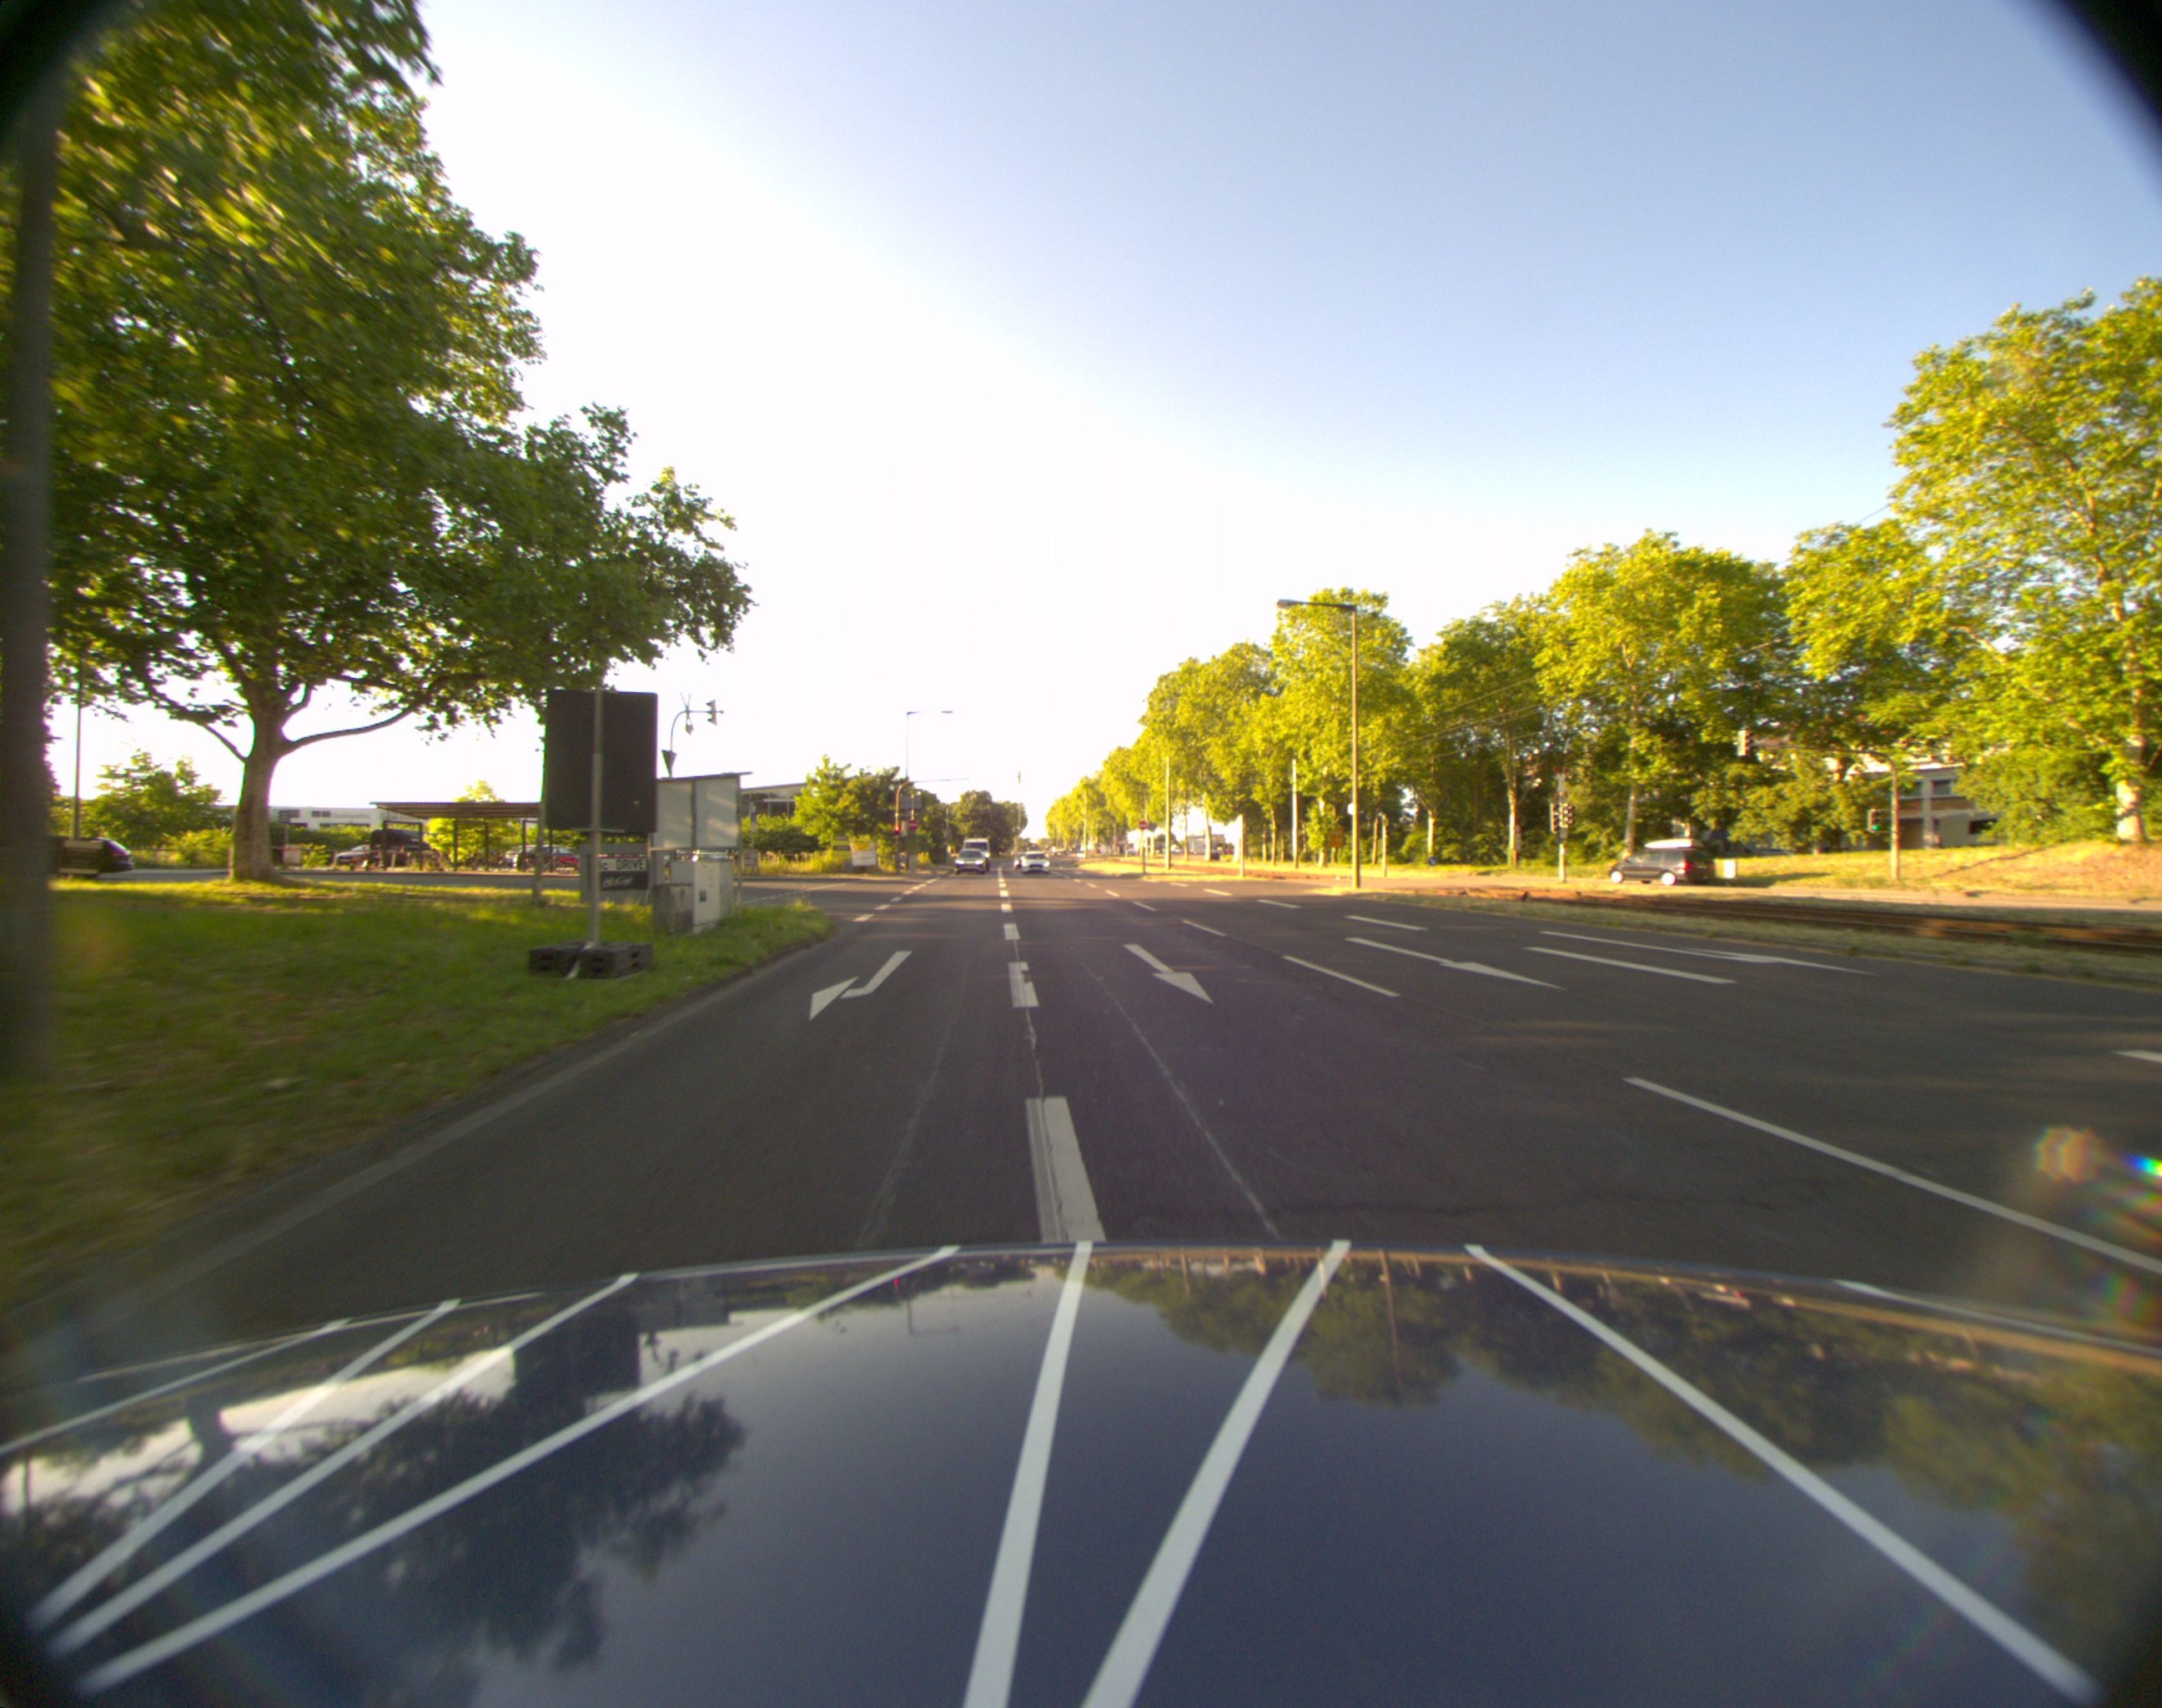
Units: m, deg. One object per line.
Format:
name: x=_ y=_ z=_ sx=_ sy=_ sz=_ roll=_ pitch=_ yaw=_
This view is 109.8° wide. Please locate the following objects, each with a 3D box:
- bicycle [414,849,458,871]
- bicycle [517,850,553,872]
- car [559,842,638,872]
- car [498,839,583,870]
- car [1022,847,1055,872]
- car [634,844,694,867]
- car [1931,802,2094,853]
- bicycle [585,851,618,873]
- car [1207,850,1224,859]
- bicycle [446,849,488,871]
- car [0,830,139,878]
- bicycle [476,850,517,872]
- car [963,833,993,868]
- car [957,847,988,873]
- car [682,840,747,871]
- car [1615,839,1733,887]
bicycle: x=-31.044 y=0.266 z=36.601 sx=0.544 sy=1.032 sz=1.893 roll=1 pitch=0 yaw=-1
bicycle: x=-26.469 y=0.339 z=36.870 sx=0.544 sy=1.032 sz=1.892 roll=1 pitch=0 yaw=-5
car: x=-27.300 y=0.170 z=43.161 sx=2.120 sy=1.639 sz=4.317 roll=1 pitch=0 yaw=-7
car: x=-30.545 y=0.060 z=43.111 sx=2.120 sy=1.639 sz=4.317 roll=1 pitch=0 yaw=-7
car: x=-2.801 y=0.370 z=50.968 sx=1.875 sy=1.608 sz=4.000 roll=1 pitch=0 yaw=1
car: x=-30.935 y=0.122 z=56.498 sx=2.118 sy=1.627 sz=4.001 roll=1 pitch=0 yaw=3
car: x=50.086 y=-1.353 z=41.086 sx=1.805 sy=2.498 sz=5.627 roll=1 pitch=0 yaw=-1
bicycle: x=-23.391 y=0.387 z=37.087 sx=0.544 sy=1.032 sz=1.892 roll=1 pitch=0 yaw=-5
car: x=21.154 y=0.044 z=119.374 sx=1.630 sy=1.433 sz=3.983 roll=1 pitch=0 yaw=-6
bicycle: x=-29.573 y=0.299 z=36.635 sx=0.544 sy=1.032 sz=1.893 roll=1 pitch=0 yaw=-1
car: x=-34.727 y=0.004 z=25.173 sx=1.825 sy=1.546 sz=4.268 roll=1 pitch=0 yaw=45
bicycle: x=-28.254 y=0.334 z=36.772 sx=0.544 sy=1.032 sz=1.893 roll=1 pitch=0 yaw=-1
car: x=-7.937 y=-0.278 z=58.895 sx=2.009 sy=2.551 sz=5.873 roll=1 pitch=0 yaw=-5
car: x=-7.108 y=0.369 z=50.163 sx=1.876 sy=1.608 sz=4.545 roll=1 pitch=0 yaw=-7
car: x=-21.076 y=0.099 z=43.910 sx=2.120 sy=1.639 sz=4.224 roll=1 pitch=0 yaw=-7
car: x=27.329 y=0.383 z=35.216 sx=1.999 sy=2.054 sz=4.188 roll=1 pitch=0 yaw=-5
